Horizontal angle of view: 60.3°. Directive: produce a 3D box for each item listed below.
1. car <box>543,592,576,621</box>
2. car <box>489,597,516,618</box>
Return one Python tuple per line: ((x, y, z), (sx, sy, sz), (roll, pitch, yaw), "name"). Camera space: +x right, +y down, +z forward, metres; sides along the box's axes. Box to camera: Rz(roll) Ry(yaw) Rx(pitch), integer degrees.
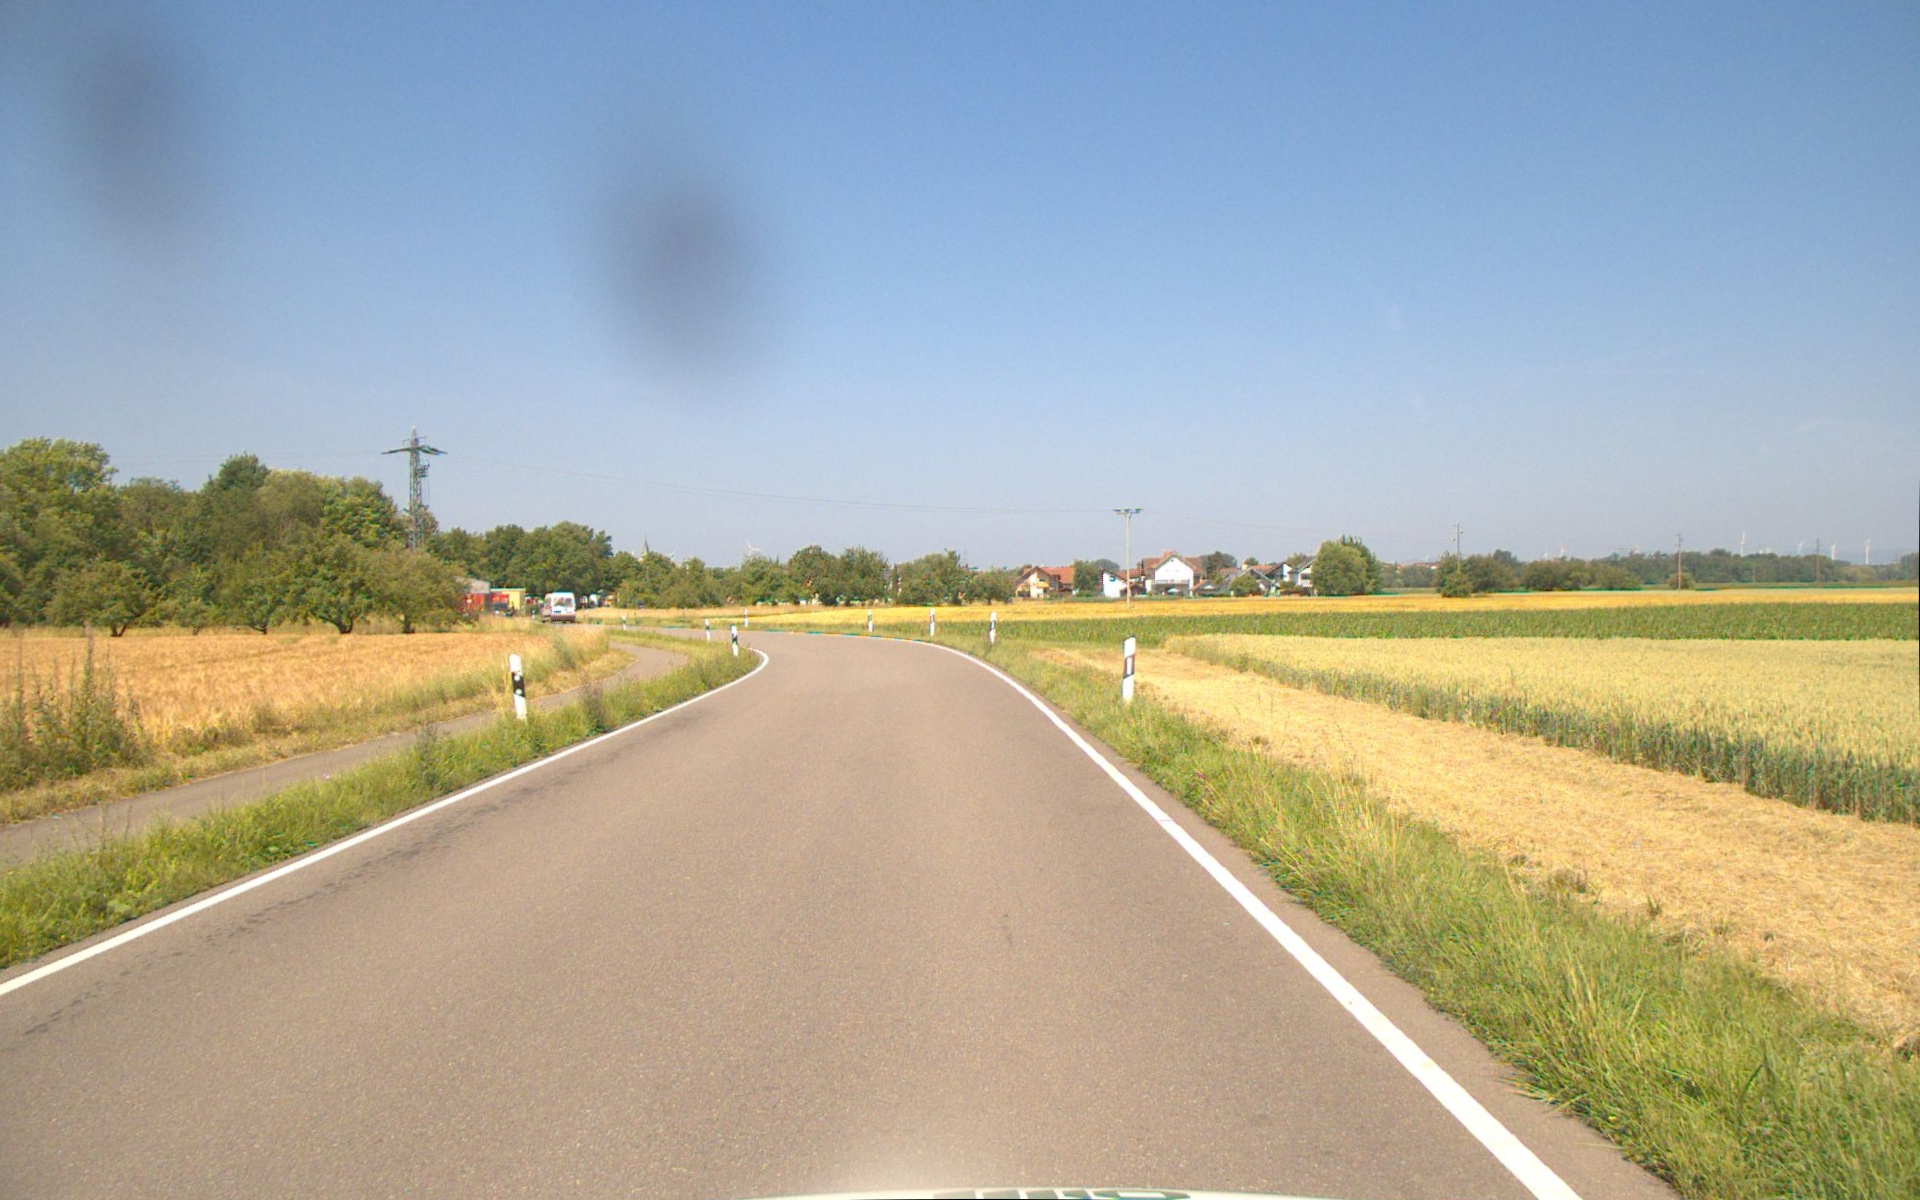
((-32.988, 0.508, 136.131), (1.966, 2.305, 4.694), (-1, 0, -22), "car")
((-40.858, 0.647, 147.671), (1.861, 1.744, 3.987), (-2, 1, -22), "car")
